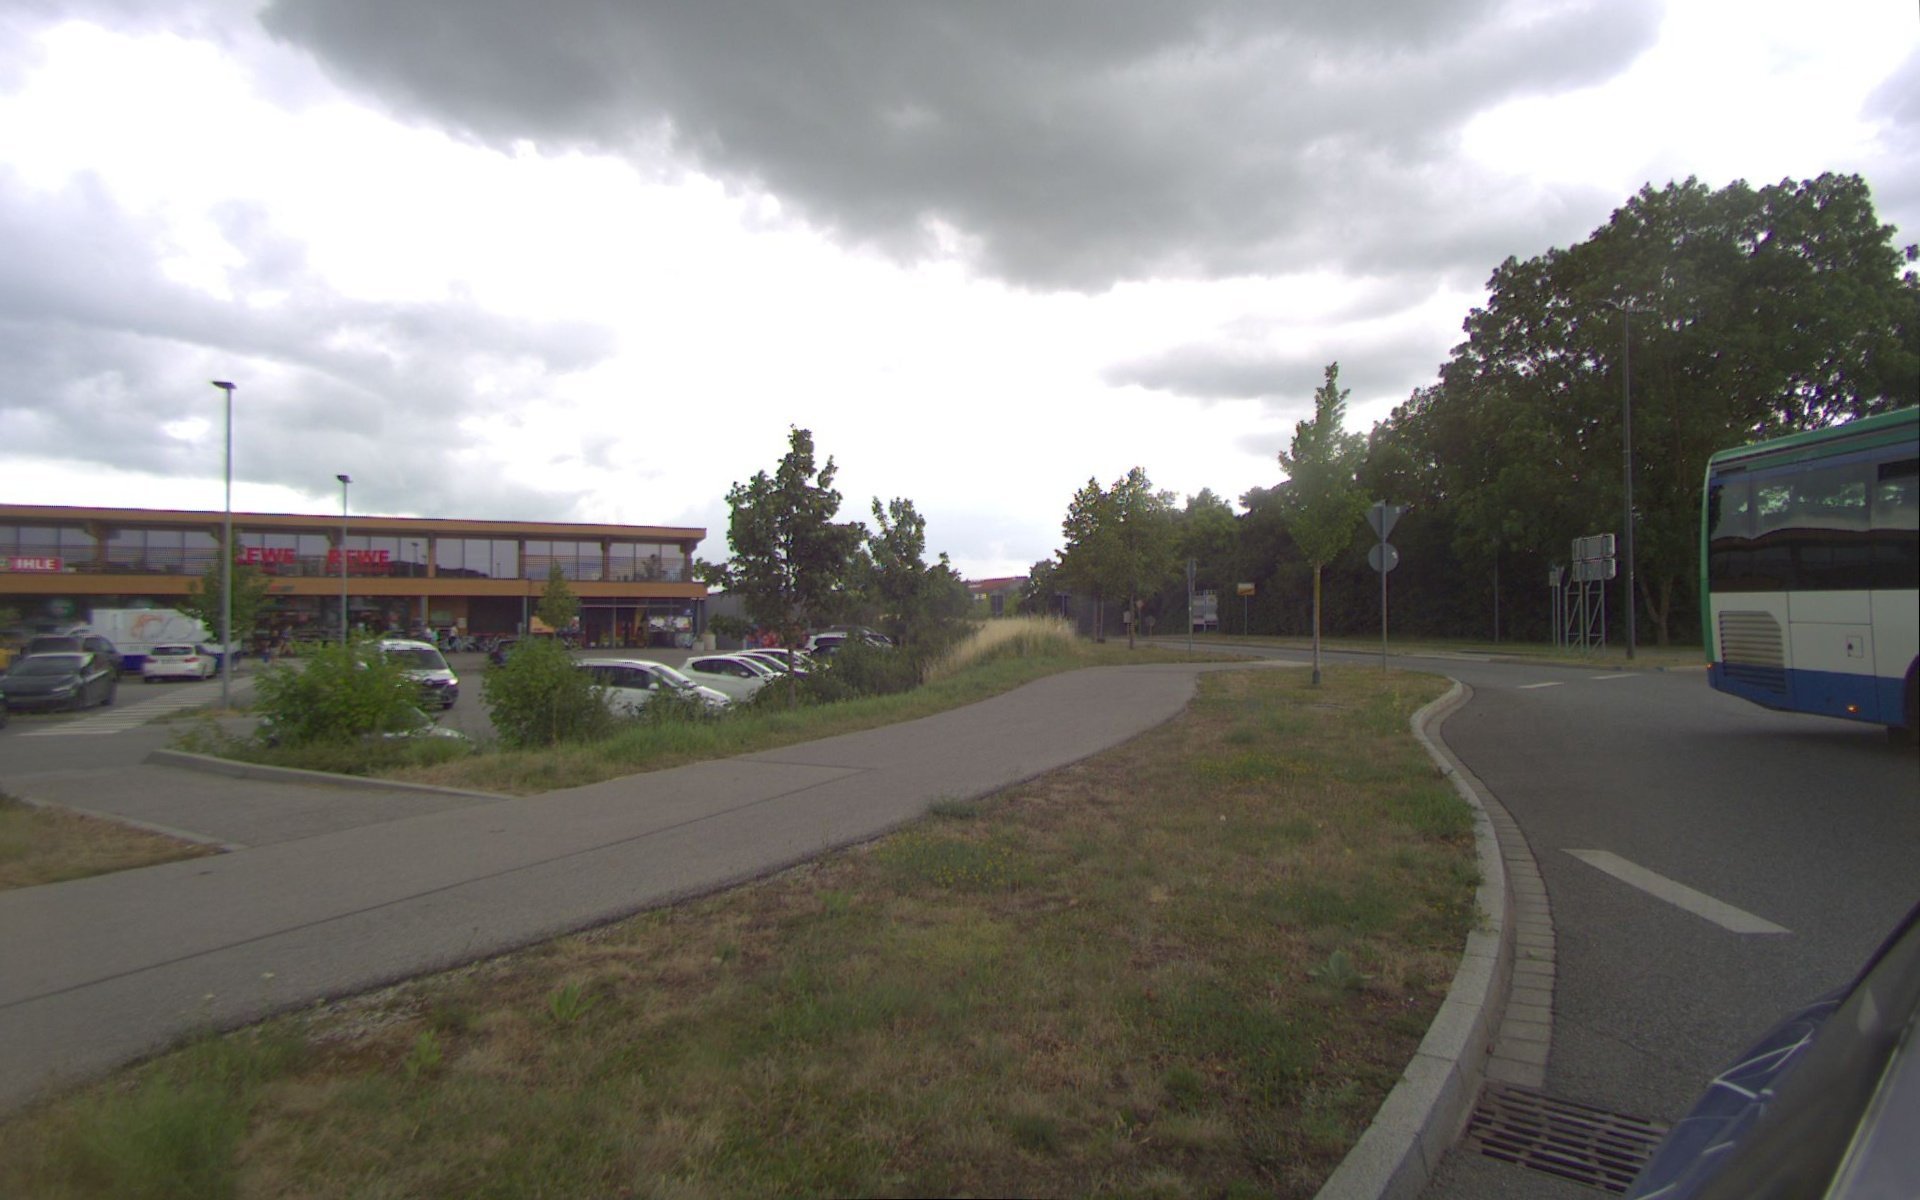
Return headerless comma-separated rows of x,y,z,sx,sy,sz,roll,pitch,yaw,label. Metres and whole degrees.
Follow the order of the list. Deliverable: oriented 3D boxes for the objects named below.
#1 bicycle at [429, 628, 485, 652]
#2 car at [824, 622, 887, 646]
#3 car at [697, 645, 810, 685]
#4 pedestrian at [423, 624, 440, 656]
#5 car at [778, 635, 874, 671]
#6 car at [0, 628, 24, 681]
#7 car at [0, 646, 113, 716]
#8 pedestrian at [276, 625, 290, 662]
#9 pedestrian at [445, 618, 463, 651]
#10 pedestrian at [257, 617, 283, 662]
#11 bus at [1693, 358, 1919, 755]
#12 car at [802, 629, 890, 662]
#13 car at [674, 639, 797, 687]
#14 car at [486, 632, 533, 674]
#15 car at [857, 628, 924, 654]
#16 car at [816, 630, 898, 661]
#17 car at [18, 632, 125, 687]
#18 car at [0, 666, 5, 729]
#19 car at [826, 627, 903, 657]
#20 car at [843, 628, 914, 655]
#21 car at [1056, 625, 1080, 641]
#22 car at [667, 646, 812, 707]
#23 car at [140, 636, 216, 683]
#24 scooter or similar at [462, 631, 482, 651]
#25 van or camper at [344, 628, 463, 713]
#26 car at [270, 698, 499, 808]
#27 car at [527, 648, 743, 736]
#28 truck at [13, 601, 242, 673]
-28.811,2.281,58.016,2.810,1.326,0.981,0,-1,-25,bicycle
-6.694,2.156,64.697,3.918,1.462,1.886,-1,-1,-8,car
-7.187,2.271,35.383,3.613,1.311,1.413,-1,-1,7,car
-29.053,2.193,55.612,0.788,1.678,0.751,0,-1,-24,pedestrian
-5.743,2.279,43.677,3.823,1.483,1.694,-1,-1,7,car
-35.327,1.978,36.047,1.736,1.878,4.006,-1,-1,-24,car
-24.130,2.090,26.924,1.697,1.573,4.004,0,-1,-29,car
-36.224,2.319,54.153,0.514,1.974,0.579,0,-1,-25,pedestrian
-29.743,2.027,59.470,0.910,1.923,0.794,0,-4,-32,pedestrian
-32.200,1.833,47.251,0.913,2.039,0.806,0,-1,-29,pedestrian
9.238,-0.369,8.572,2.481,3.299,5.453,0,1,6,bus
-5.334,2.142,47.634,3.823,1.483,1.694,-1,-1,7,car
-7.010,1.944,31.826,3.602,1.311,1.718,-1,0,-6,car
-19.253,2.214,43.184,1.680,1.588,3.675,0,-1,-26,car
-4.233,2.490,61.692,3.823,1.483,1.694,-1,-1,7,car
-5.124,2.278,50.743,3.823,1.483,1.694,-1,-1,7,car
-32.240,2.108,36.865,1.814,1.747,4.126,-2,0,-25,car
-21.830,2.221,21.093,1.799,1.416,4.004,0,0,-28,car
-5.077,2.224,53.893,3.823,1.483,1.694,-1,-1,7,car
-4.629,2.379,57.765,3.823,1.483,1.694,-1,-1,7,car
10.725,3.280,100.461,1.728,1.449,4.082,-2,-3,-3,car
-6.395,2.220,29.694,3.920,1.527,2.002,-1,0,-5,car
-29.619,2.195,38.442,1.697,1.549,4.004,0,-1,-29,car
-28.920,2.403,59.959,0.983,1.141,0.794,0,-4,-32,scooter or similar
-15.628,1.956,28.291,1.736,2.125,4.791,0,-3,-44,van or camper
-9.322,2.378,16.346,3.698,1.390,1.565,-2,-1,29,car
-7.386,2.067,23.292,4.363,1.694,1.799,2,0,3,car
-35.335,1.486,43.349,7.111,2.843,2.979,0,-1,-29,truck
